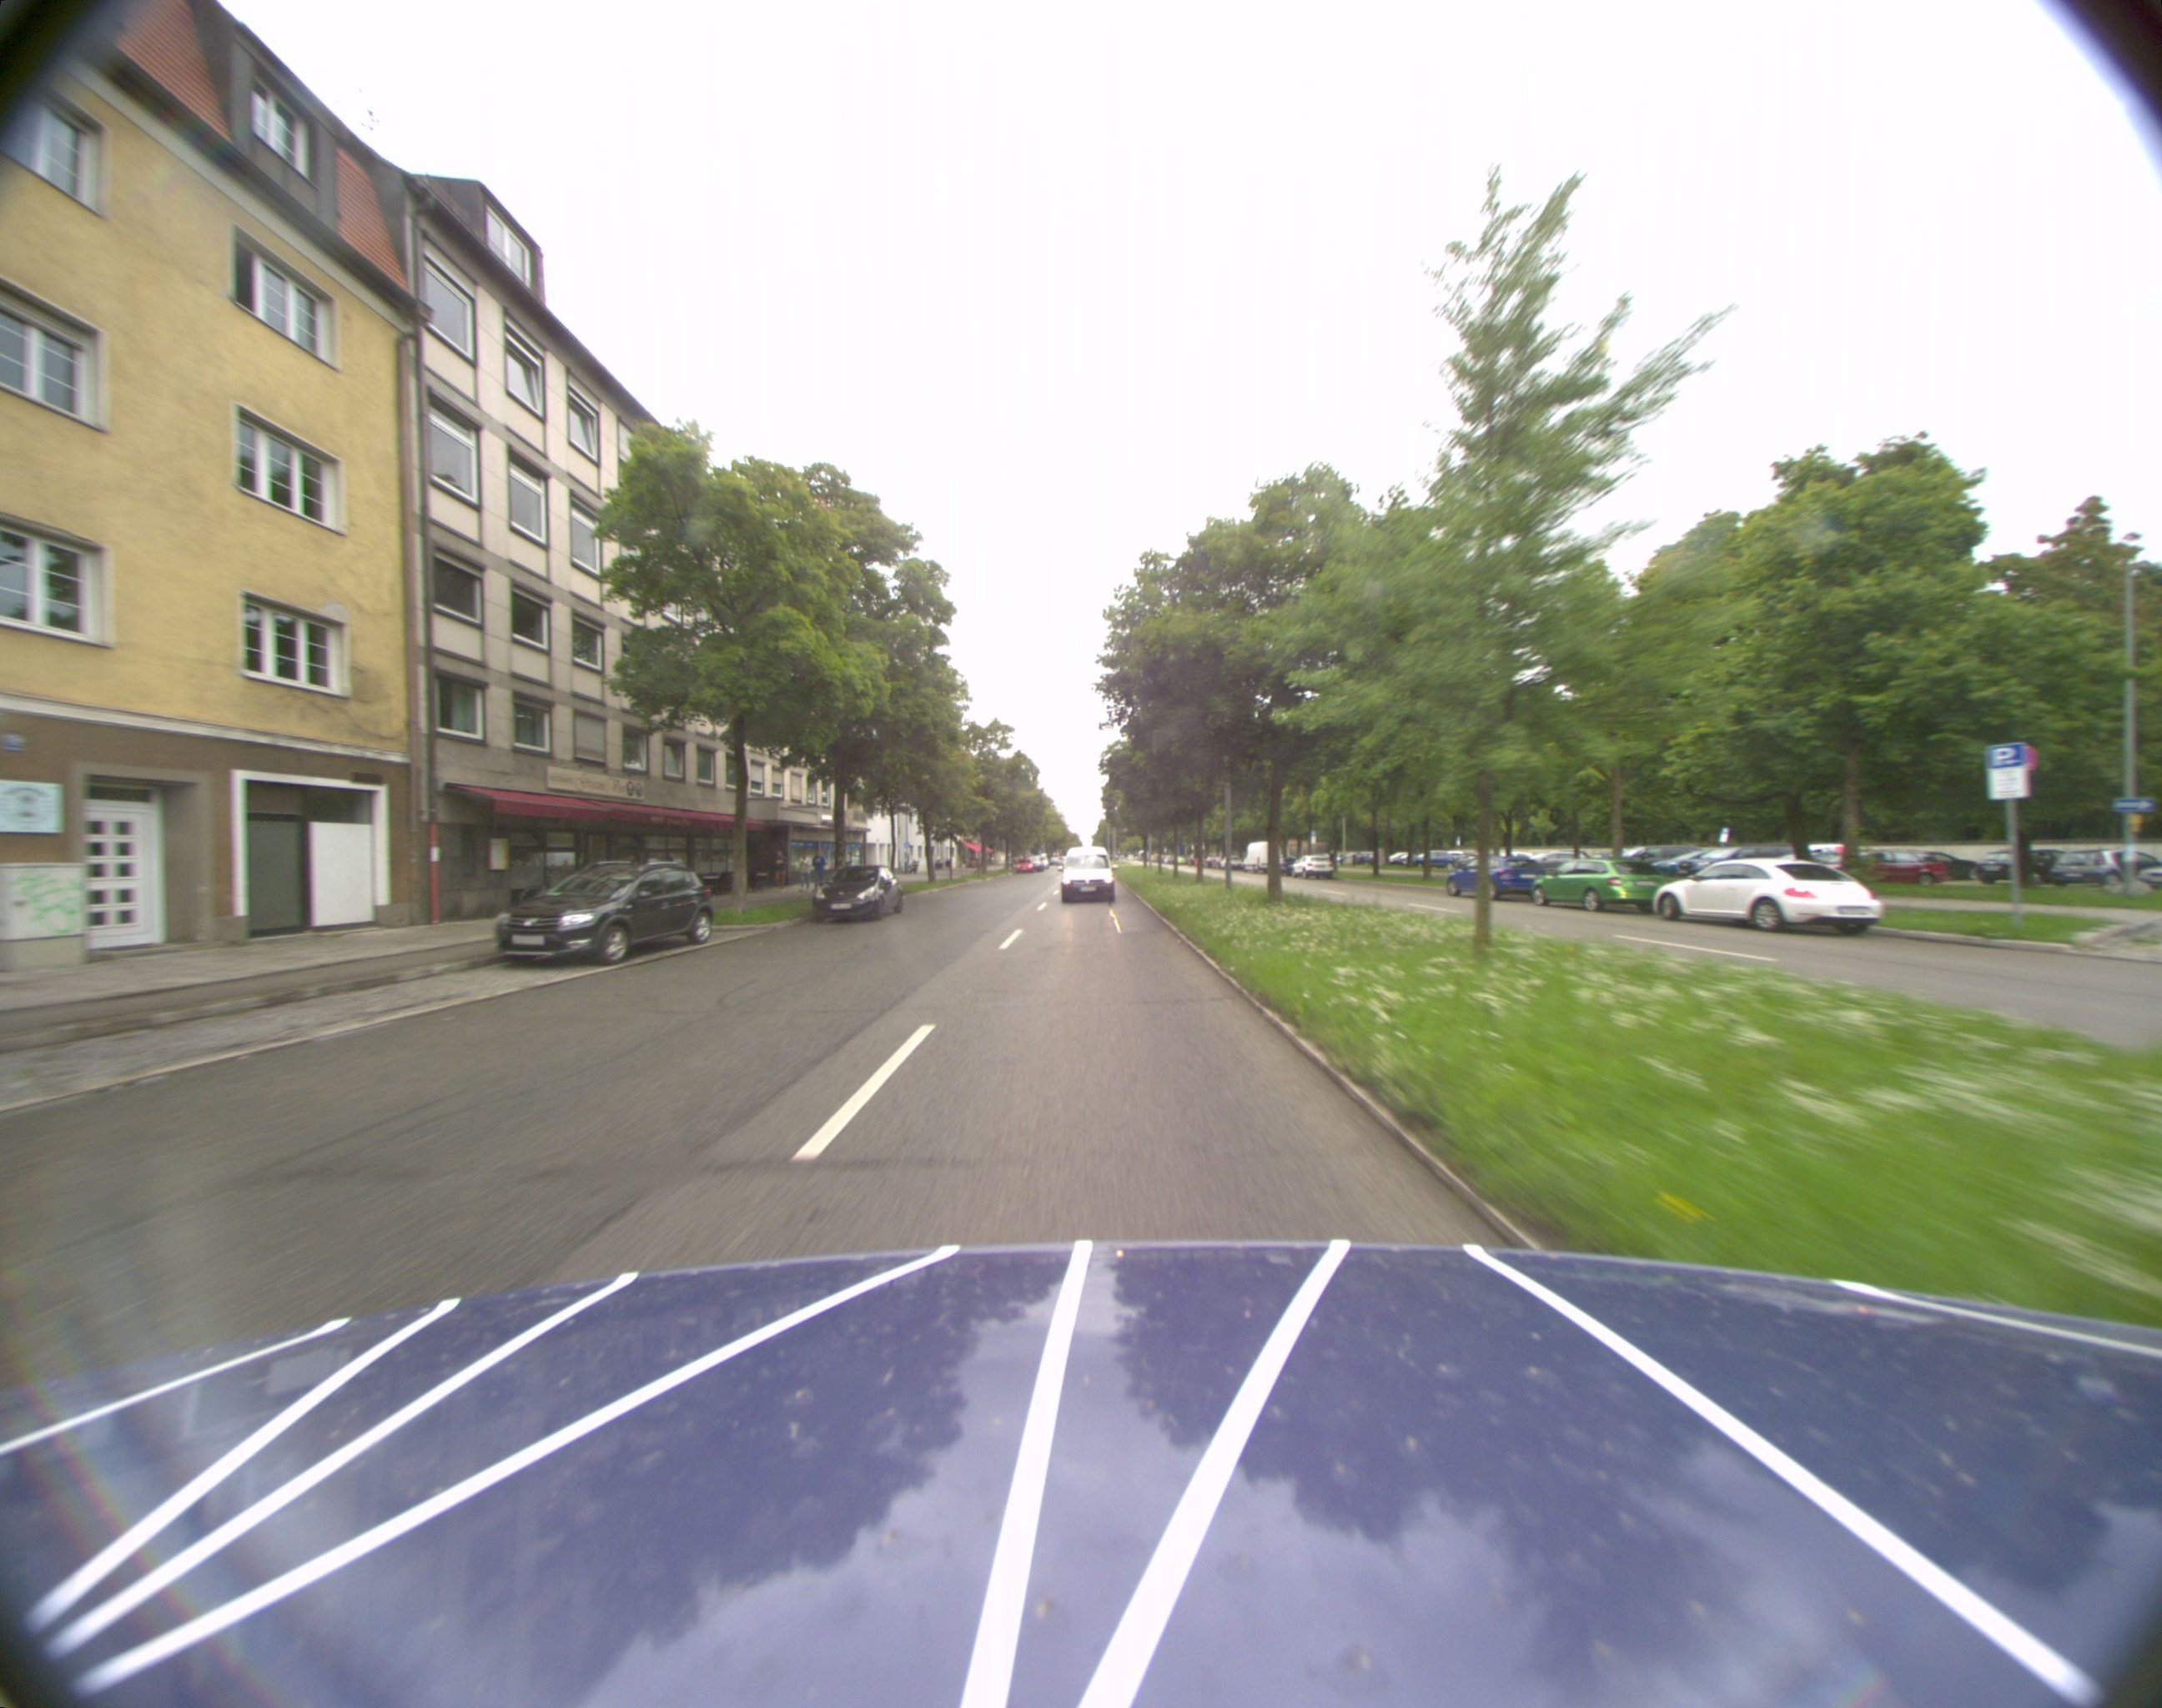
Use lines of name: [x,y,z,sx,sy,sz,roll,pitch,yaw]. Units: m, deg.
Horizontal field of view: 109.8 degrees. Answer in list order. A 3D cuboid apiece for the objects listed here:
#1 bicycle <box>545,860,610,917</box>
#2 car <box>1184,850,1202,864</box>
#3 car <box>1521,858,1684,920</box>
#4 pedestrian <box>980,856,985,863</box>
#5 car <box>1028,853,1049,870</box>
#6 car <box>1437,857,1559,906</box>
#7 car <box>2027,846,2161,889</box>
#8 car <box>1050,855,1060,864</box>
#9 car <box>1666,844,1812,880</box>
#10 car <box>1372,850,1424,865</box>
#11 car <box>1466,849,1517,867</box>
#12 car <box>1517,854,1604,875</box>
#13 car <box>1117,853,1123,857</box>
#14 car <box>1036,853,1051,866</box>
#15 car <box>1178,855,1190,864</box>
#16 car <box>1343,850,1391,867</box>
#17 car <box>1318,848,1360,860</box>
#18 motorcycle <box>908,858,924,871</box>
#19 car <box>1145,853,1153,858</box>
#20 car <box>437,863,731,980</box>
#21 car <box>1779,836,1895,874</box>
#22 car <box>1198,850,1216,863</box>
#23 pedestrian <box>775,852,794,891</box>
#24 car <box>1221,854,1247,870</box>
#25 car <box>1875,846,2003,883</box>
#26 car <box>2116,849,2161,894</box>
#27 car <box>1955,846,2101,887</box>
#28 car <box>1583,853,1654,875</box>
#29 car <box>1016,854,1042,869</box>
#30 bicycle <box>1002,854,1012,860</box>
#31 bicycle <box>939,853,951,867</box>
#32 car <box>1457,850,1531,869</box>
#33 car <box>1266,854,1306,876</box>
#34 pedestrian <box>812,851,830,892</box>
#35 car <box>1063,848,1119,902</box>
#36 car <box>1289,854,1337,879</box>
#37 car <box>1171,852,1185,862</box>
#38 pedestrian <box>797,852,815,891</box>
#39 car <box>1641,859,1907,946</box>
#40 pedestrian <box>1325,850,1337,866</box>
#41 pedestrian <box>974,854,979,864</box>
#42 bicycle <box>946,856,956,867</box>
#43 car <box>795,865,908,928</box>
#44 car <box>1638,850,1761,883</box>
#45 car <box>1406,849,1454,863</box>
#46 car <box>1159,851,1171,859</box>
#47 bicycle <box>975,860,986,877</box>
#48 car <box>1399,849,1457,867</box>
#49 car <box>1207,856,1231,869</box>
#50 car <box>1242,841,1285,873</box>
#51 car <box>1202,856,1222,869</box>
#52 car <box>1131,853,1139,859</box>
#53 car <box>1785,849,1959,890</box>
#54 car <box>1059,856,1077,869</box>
bicycle: [-13.545,0.903,20.484,0.581,1.455,1.688,-1,0,1]
car: [15.624,0.401,106.353,1.826,1.690,4.238,-1,1,0]
car: [14.596,0.907,21.596,1.642,1.528,4.314,2,0,1]
pedestrian: [-13.917,0.805,107.412,0.539,1.048,0.487,-1,1,1]
car: [-4.512,0.795,80.614,1.833,1.736,4.508,-1,0,2]
car: [14.645,0.900,26.999,1.891,1.528,4.314,2,0,-1]
car: [40.583,0.513,30.078,3.997,1.527,1.815,-2,0,0]
car: [-4.622,0.923,134.090,1.648,1.468,3.956,-2,0,0]
car: [28.227,0.334,32.743,4.356,1.496,2.002,-1,0,11]
car: [29.291,0.305,70.264,3.996,1.331,1.815,-1,0,4]
car: [40.523,0.384,75.059,3.995,1.643,1.771,-1,0,6]
car: [29.541,0.638,46.869,4.183,1.202,1.784,-1,0,4]
car: [13.431,0.452,261.461,1.820,1.440,4.782,0,0,0]
car: [-4.898,0.693,99.049,1.834,1.513,4.522,-2,0,-3]
car: [16.830,0.904,124.114,1.644,1.490,4.000,1,0,2]
car: [27.547,0.392,73.263,3.999,1.561,1.813,-1,0,-5]
car: [28.771,0.014,84.826,3.999,1.276,1.740,-1,0,-5]
motorcycle: [-13.476,0.846,62.025,0.763,1.079,2.199,0,0,1]
car: [17.882,0.408,198.903,1.717,1.401,4.041,0,0,-1]
car: [-8.294,1.017,13.288,1.998,1.633,4.334,-1,0,5]
car: [42.250,0.069,42.545,4.517,2.022,2.000,-1,1,0]
car: [15.971,0.313,96.498,1.826,1.590,4.113,-1,0,2]
pedestrian: [-12.481,0.743,31.996,0.543,1.631,0.724,0,0,-6]
car: [15.890,0.787,79.074,1.826,1.519,4.298,1,1,0]
car: [40.726,0.478,36.132,3.997,1.527,1.815,-2,0,0]
car: [40.201,0.576,27.133,3.997,1.527,1.815,-2,0,0]
car: [40.560,0.522,32.613,3.997,1.527,1.815,-2,0,0]
car: [40.284,0.728,56.984,3.995,1.587,1.771,-1,0,6]
car: [-5.057,0.733,74.551,1.524,1.433,4.003,-1,0,11]
bicycle: [-14.253,0.530,146.271,2.032,1.061,0.663,-1,1,-3]
bicycle: [-13.835,0.587,77.232,0.704,1.399,2.593,3,0,1]
car: [27.889,0.376,51.420,3.996,1.202,1.784,-1,0,4]
car: [15.466,0.818,57.523,1.862,1.482,4.251,-1,1,0]
pedestrian: [-10.877,0.722,31.827,0.501,1.723,0.733,0,1,1]
car: [0.360,0.705,27.816,1.772,1.742,4.546,-3,0,1]
car: [15.191,0.792,49.903,1.862,1.482,4.141,-1,1,0]
car: [16.883,0.497,132.294,1.826,1.621,4.456,0,0,1]
pedestrian: [-11.676,0.738,32.273,0.550,1.620,0.641,1,1,1]
car: [14.487,0.921,16.301,1.765,1.528,4.314,2,0,1]
pedestrian: [22.583,0.352,68.545,0.797,1.487,0.856,-1,1,1]
pedestrian: [-14.217,0.670,103.647,0.539,1.331,0.552,-1,1,0]
bicycle: [-13.970,0.805,81.885,0.623,1.040,2.195,3,0,1]
car: [-6.120,1.074,20.768,1.999,1.443,3.999,-1,0,-2]
car: [28.970,0.561,35.726,3.992,1.496,2.002,-1,0,14]
car: [39.599,0.197,86.244,4.517,1.433,2.000,-1,0,0]
car: [16.502,0.187,149.517,1.826,1.438,3.787,2,0,-1]
bicycle: [-7.484,1.058,56.468,0.456,1.248,2.146,-1,0,-17]
car: [28.981,0.293,63.520,3.995,1.429,1.815,-1,0,6]
car: [15.280,0.944,84.396,1.826,1.439,3.999,1,0,-2]
car: [15.622,0.266,65.486,2.145,2.628,7.105,1,0,1]
car: [15.725,0.992,91.420,1.825,1.401,4.001,1,0,3]
car: [15.342,0.643,216.008,1.855,1.591,4.402,1,0,1]
car: [28.554,0.525,27.524,4.424,1.384,1.759,-1,1,1]
car: [-1.567,1.045,94.591,1.984,1.591,4.402,1,0,1]
